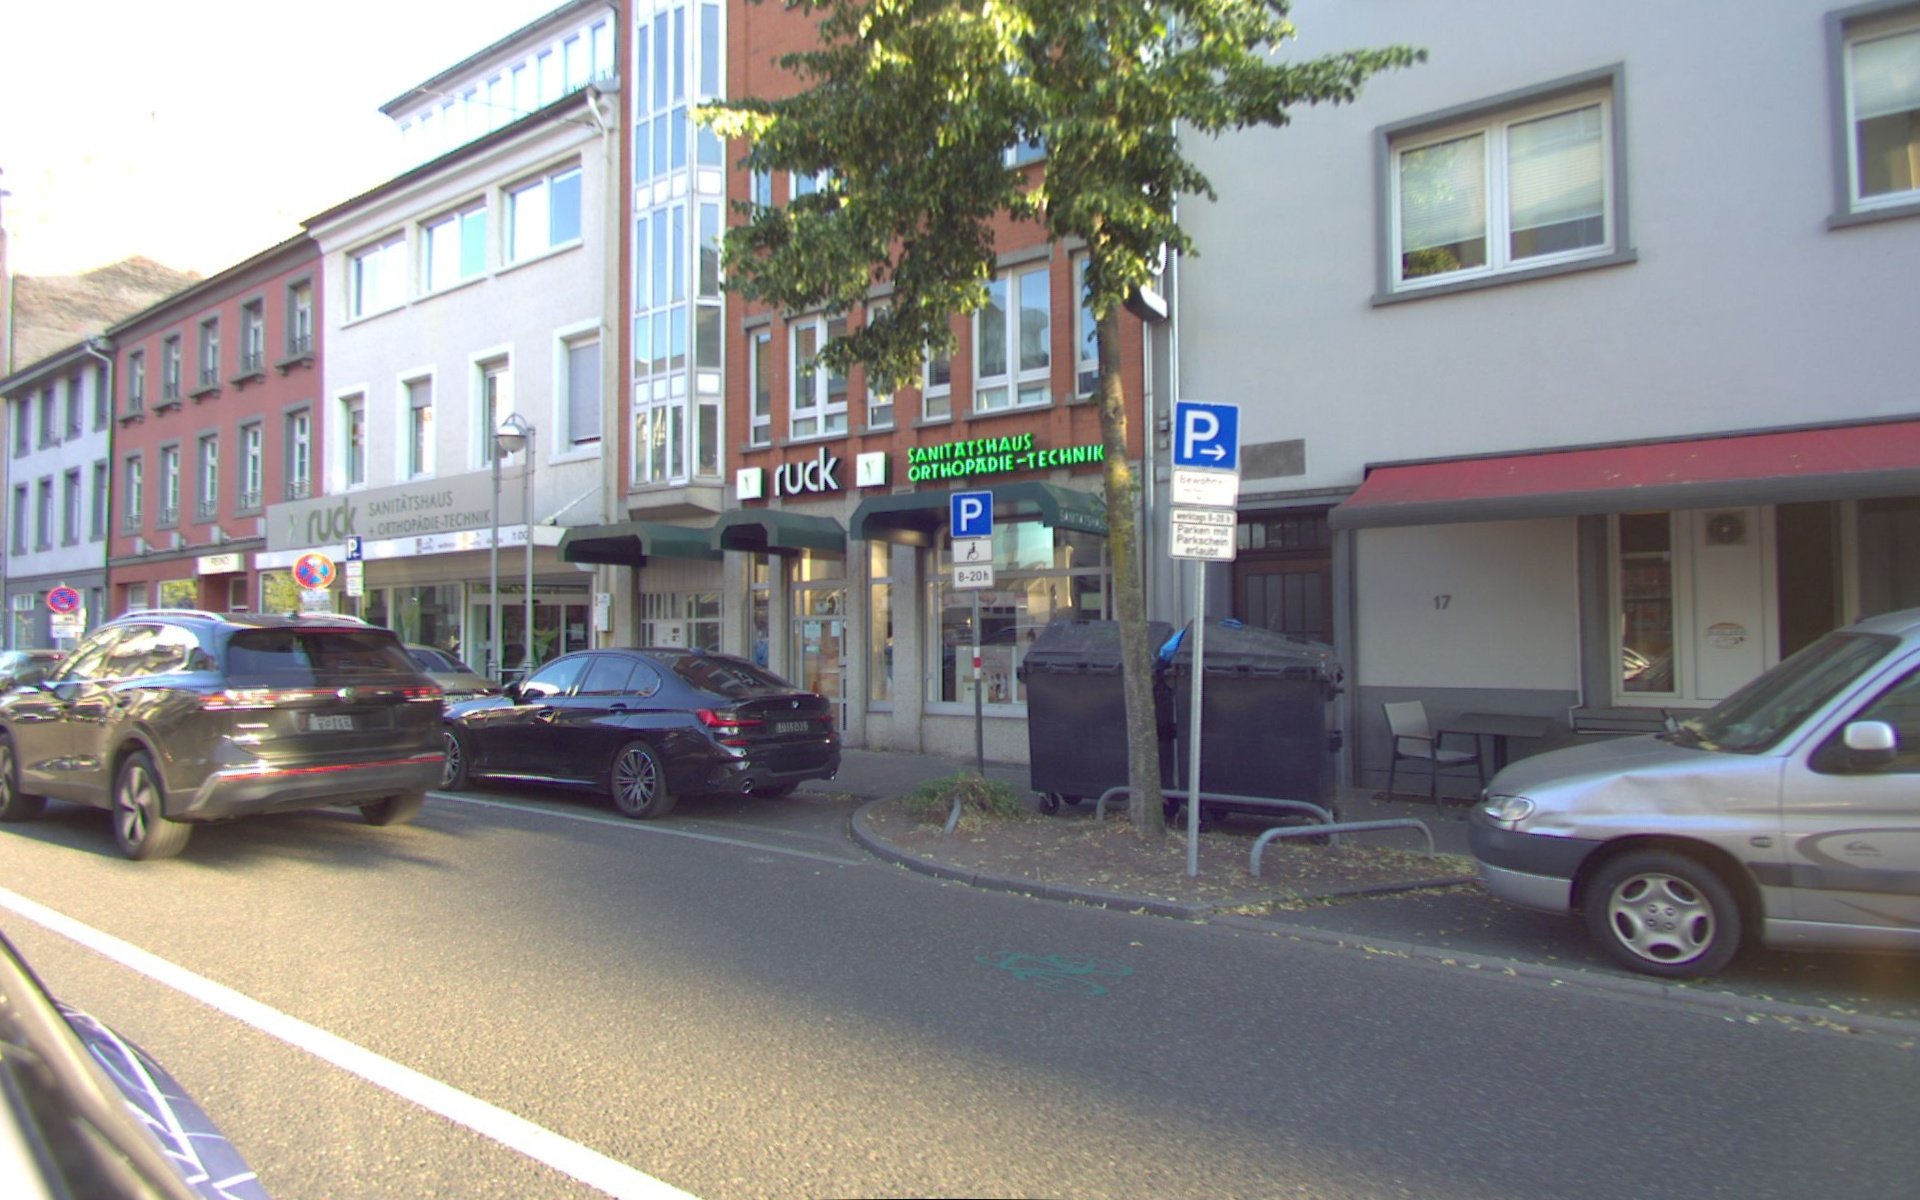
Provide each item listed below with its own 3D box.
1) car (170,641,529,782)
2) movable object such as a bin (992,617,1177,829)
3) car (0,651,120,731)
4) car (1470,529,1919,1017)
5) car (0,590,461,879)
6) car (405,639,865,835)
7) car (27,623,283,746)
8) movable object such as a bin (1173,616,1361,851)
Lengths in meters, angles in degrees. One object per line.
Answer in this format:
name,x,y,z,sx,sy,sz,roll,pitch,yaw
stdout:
car,-7.909,1.313,12.947,5.094,1.484,1.976,-2,-4,35
movable object such as a bin,1.051,0.981,8.537,1.331,1.632,0.775,-2,-1,30
car,-18.660,1.764,20.215,4.001,1.449,1.688,-2,-5,32
car,4.568,0.713,4.462,4.038,1.902,1.657,-1,-4,31
car,-5.927,0.904,7.854,4.283,1.688,1.716,-2,-5,33
car,-3.211,1.158,9.669,4.528,1.484,1.706,-2,-5,33
car,-13.479,1.357,16.856,4.921,1.793,1.707,-2,-4,31
movable object such as a bin,2.354,0.958,7.754,1.203,1.632,0.775,-2,0,30
